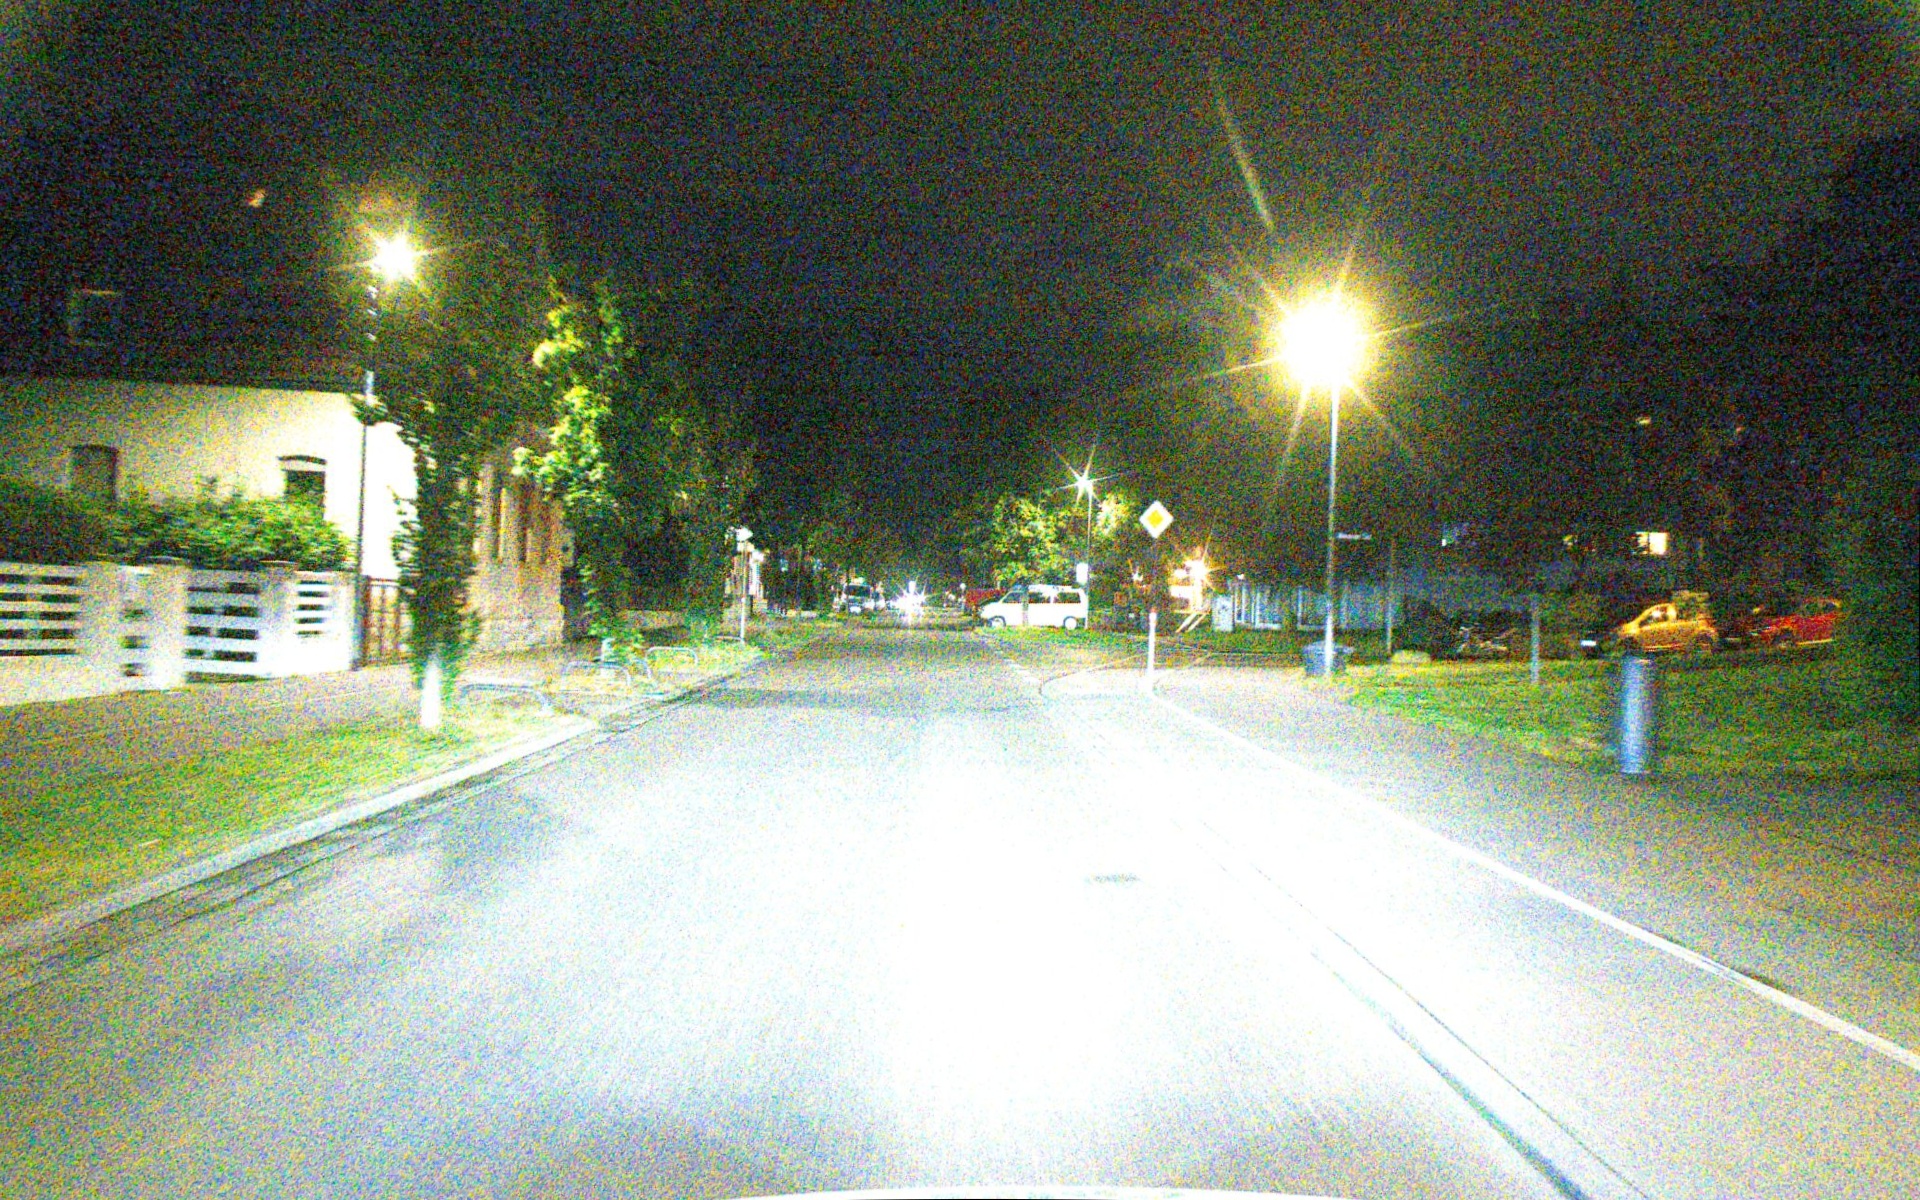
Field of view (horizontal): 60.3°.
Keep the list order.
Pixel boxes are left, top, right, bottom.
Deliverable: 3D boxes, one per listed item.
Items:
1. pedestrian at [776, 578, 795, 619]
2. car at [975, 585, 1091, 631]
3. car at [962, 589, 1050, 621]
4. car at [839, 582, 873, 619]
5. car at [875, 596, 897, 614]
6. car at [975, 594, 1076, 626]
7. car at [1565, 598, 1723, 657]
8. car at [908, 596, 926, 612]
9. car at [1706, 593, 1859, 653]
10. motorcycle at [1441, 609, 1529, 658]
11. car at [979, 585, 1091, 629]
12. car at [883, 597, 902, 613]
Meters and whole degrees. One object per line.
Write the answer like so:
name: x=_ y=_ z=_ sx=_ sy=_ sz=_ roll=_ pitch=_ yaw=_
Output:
pedestrian: x=-8.837 y=-0.065 z=83.945 sx=0.769 sy=2.048 sz=1.204 roll=3 pitch=0 yaw=-1
car: x=3.267 y=0.335 z=74.499 sx=5.078 sy=2.049 sz=2.101 roll=0 pitch=0 yaw=-2
car: x=2.757 y=0.304 z=99.284 sx=5.072 sy=1.920 sz=2.103 roll=0 pitch=0 yaw=8
car: x=-6.120 y=0.031 z=97.947 sx=1.788 sy=2.021 sz=4.463 roll=3 pitch=0 yaw=-2
car: x=-5.850 y=0.363 z=130.685 sx=1.649 sy=1.354 sz=3.598 roll=1 pitch=0 yaw=-2
car: x=3.363 y=0.503 z=85.569 sx=5.078 sy=1.622 sz=2.101 roll=0 pitch=0 yaw=-2
car: x=18.205 y=0.705 z=44.076 sx=3.561 sy=1.505 sz=1.856 roll=0 pitch=0 yaw=-17
car: x=-4.787 y=0.422 z=183.111 sx=1.888 sy=1.677 sz=3.819 roll=0 pitch=0 yaw=-2
car: x=22.822 y=0.613 z=45.884 sx=3.963 sy=1.575 sz=1.602 roll=0 pitch=0 yaw=-22
motorcycle: x=13.834 y=0.876 z=43.607 sx=2.222 sy=1.235 sz=0.708 roll=0 pitch=0 yaw=-17
car: x=3.482 y=0.324 z=77.592 sx=5.078 sy=2.049 sz=2.101 roll=0 pitch=0 yaw=-2
car: x=-5.980 y=0.427 z=147.014 sx=1.649 sy=1.354 sz=3.598 roll=1 pitch=0 yaw=-2
